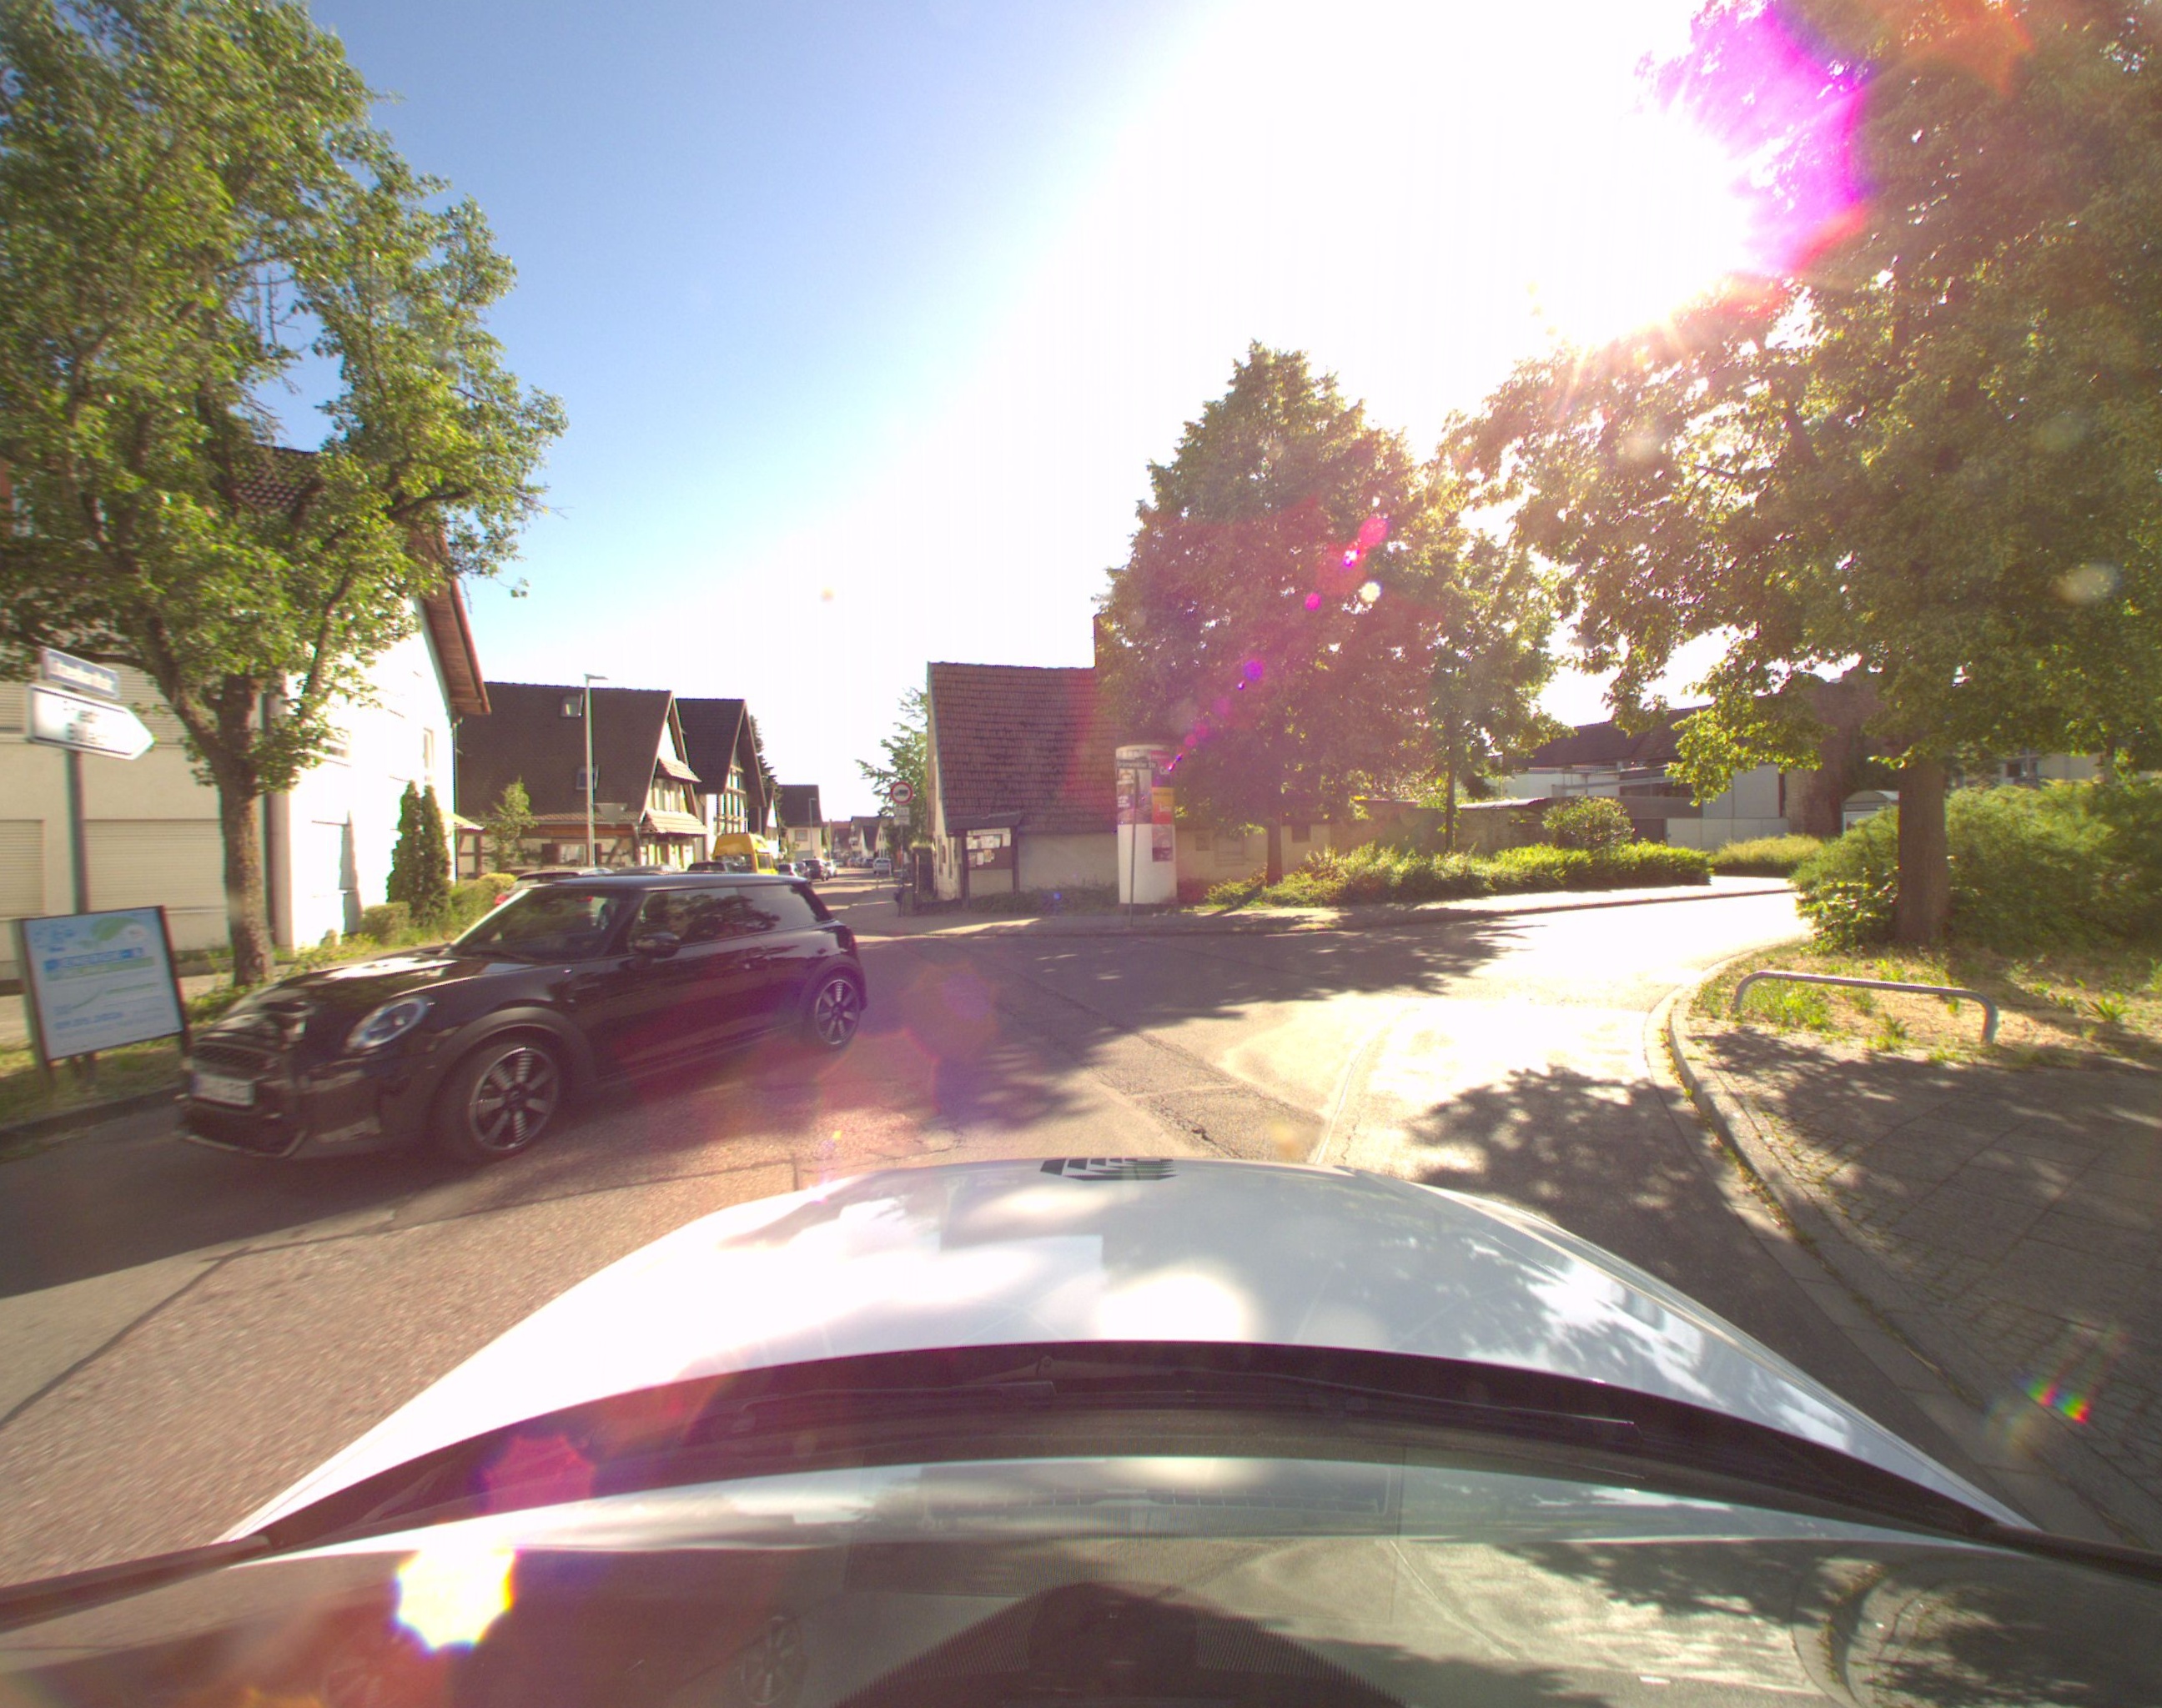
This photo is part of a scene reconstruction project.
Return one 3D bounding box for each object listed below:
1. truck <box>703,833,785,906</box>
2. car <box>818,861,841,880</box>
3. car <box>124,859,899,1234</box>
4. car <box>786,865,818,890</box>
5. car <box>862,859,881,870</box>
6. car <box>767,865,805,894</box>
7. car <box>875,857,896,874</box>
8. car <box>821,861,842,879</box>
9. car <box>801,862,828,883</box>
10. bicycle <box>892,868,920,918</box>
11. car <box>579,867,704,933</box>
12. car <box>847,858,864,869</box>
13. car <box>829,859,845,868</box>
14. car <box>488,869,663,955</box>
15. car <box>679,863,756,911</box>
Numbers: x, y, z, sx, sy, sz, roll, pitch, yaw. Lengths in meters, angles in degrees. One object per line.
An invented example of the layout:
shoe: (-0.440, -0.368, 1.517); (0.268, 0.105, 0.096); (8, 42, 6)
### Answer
truck: (-14.614, 0.637, 35.678); (2.270, 2.868, 5.757); (-2, 0, -13)
car: (-19.948, 1.308, 64.736); (1.591, 1.443, 3.595); (-1, 0, -16)
car: (-3.158, 0.815, 5.540); (1.645, 1.477, 4.023); (-1, 0, 24)
car: (-16.794, 1.395, 49.180); (1.591, 1.336, 3.595); (-1, 0, -16)
car: (-31.698, 1.526, 123.283); (1.984, 1.583, 3.959); (-1, 0, -27)
car: (-16.084, 1.358, 44.598); (1.648, 1.432, 3.595); (-1, 0, -16)
car: (-19.829, 1.146, 82.458); (1.977, 1.714, 3.973); (-1, 0, -16)
car: (-21.175, 1.332, 69.196); (1.591, 1.443, 3.595); (-1, 0, -16)
car: (-18.805, 1.282, 57.543); (1.591, 1.443, 3.595); (-1, 0, -16)
bicycle: (-4.467, 0.984, 20.904); (0.432, 1.176, 1.825); (-2, 0, -5)
car: (-11.483, 1.133, 21.598); (1.808, 1.505, 4.089); (-2, 0, -13)
car: (-36.673, 1.550, 132.298); (1.984, 1.583, 3.959); (-1, 0, -27)
car: (-43.829, 1.752, 146.363); (1.984, 1.583, 3.959); (-1, 0, -27)
car: (-10.524, 1.109, 17.332); (1.869, 1.505, 4.089); (-2, 0, -13)
car: (-13.417, 1.175, 30.281); (1.808, 1.622, 3.864); (-2, 0, -13)
